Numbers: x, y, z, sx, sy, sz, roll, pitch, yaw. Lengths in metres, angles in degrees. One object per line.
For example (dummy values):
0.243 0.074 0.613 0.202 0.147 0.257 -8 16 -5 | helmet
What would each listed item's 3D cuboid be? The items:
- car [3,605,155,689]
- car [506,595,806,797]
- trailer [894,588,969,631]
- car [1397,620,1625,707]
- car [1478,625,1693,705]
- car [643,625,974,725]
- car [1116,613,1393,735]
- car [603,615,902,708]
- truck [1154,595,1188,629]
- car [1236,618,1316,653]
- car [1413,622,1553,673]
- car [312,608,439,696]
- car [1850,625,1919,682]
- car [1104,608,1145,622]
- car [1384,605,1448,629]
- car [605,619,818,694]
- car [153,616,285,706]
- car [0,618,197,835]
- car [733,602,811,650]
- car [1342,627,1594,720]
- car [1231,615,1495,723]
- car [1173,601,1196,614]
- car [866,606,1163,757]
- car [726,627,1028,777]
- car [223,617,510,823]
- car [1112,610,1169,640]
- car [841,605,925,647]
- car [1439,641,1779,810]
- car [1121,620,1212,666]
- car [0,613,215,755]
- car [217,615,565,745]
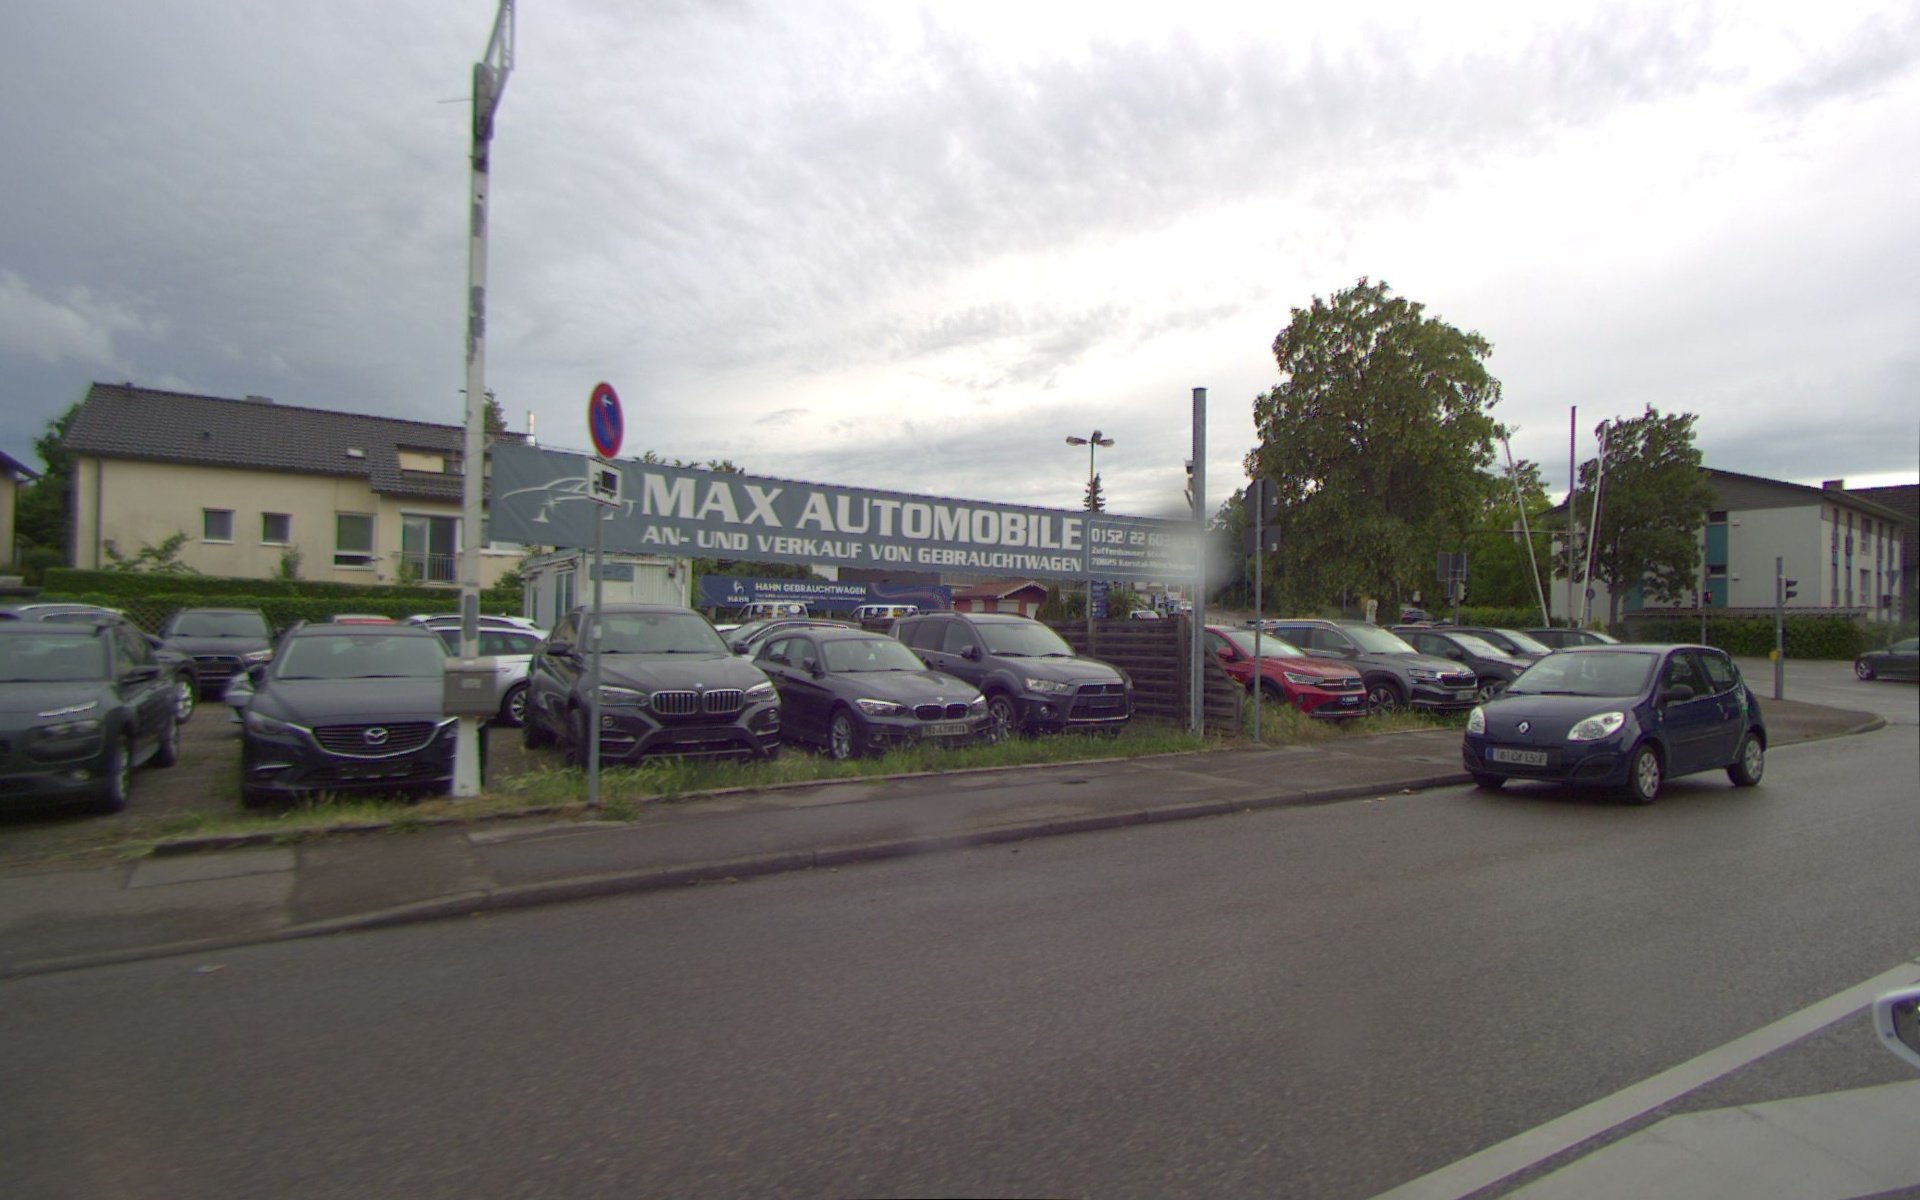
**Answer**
-18.237 0.926 20.967 1.768 1.592 3.714 1 -1 -32 | car
-3.504 0.861 10.950 2.036 1.714 4.323 1 -1 -33 | car
-2.013 0.660 69.552 2.598 2.800 4.968 2 -1 -40 | trailer
11.554 1.260 21.299 1.673 1.551 3.923 0 0 -33 | car
14.232 1.413 22.993 1.611 1.551 3.908 0 0 -43 | car
-2.402 1.157 16.697 5.163 1.439 1.887 1 -2 -34 | car
4.400 1.028 15.584 1.783 1.564 3.966 1 0 -31 | car
-3.761 1.091 18.695 5.163 1.521 1.887 1 -2 -34 | car
17.213 0.938 82.175 1.960 2.573 5.560 1 1 4 | truck
16.035 1.801 50.950 3.960 1.541 1.743 5 -2 -34 | car
17.956 1.616 34.613 3.920 1.576 1.757 -1 1 3 | car
-11.677 0.980 19.941 1.820 1.550 3.960 2 -2 -35 | car
29.075 1.601 29.945 1.959 1.595 4.002 1 0 9 | car
17.356 1.603 106.080 3.923 1.394 1.813 1 -1 -4 | car
34.552 1.265 76.167 3.920 1.747 2.001 1 0 3 | car
-5.084 1.134 20.738 3.958 1.416 1.681 1 -2 -34 | car
-13.591 1.039 18.463 1.771 1.457 3.707 2 -2 -37 | car
-7.895 0.914 8.599 1.820 1.483 3.964 1 -1 -33 | car
-8.574 1.132 45.594 1.708 2.000 4.147 0 0 -39 | car
9.544 1.300 19.167 1.783 1.460 3.966 1 0 -31 | car
6.792 1.079 17.342 1.783 1.564 3.966 1 0 -31 | car
24.853 0.834 111.378 1.561 1.423 3.706 1 0 -2 | car
0.564 0.970 13.814 1.938 1.713 4.323 1 -1 -33 | car
-1.224 1.087 12.419 1.938 1.451 4.323 1 -1 -33 | car
-5.731 0.927 9.695 1.920 1.483 4.323 1 -1 -33 | car
12.703 1.723 70.918 1.976 2.021 3.970 0 0 -29 | car
-3.862 1.237 49.765 1.983 1.895 4.401 0 0 -39 | car
6.796 1.165 10.444 3.643 1.452 1.617 1 -2 -33 | car
7.852 1.567 37.944 1.687 1.576 3.981 1 0 40 | car
-11.324 0.924 12.489 1.905 1.519 3.988 1 -1 -15 | car
-7.725 1.024 13.886 3.958 1.550 1.681 1 -2 -34 | car
